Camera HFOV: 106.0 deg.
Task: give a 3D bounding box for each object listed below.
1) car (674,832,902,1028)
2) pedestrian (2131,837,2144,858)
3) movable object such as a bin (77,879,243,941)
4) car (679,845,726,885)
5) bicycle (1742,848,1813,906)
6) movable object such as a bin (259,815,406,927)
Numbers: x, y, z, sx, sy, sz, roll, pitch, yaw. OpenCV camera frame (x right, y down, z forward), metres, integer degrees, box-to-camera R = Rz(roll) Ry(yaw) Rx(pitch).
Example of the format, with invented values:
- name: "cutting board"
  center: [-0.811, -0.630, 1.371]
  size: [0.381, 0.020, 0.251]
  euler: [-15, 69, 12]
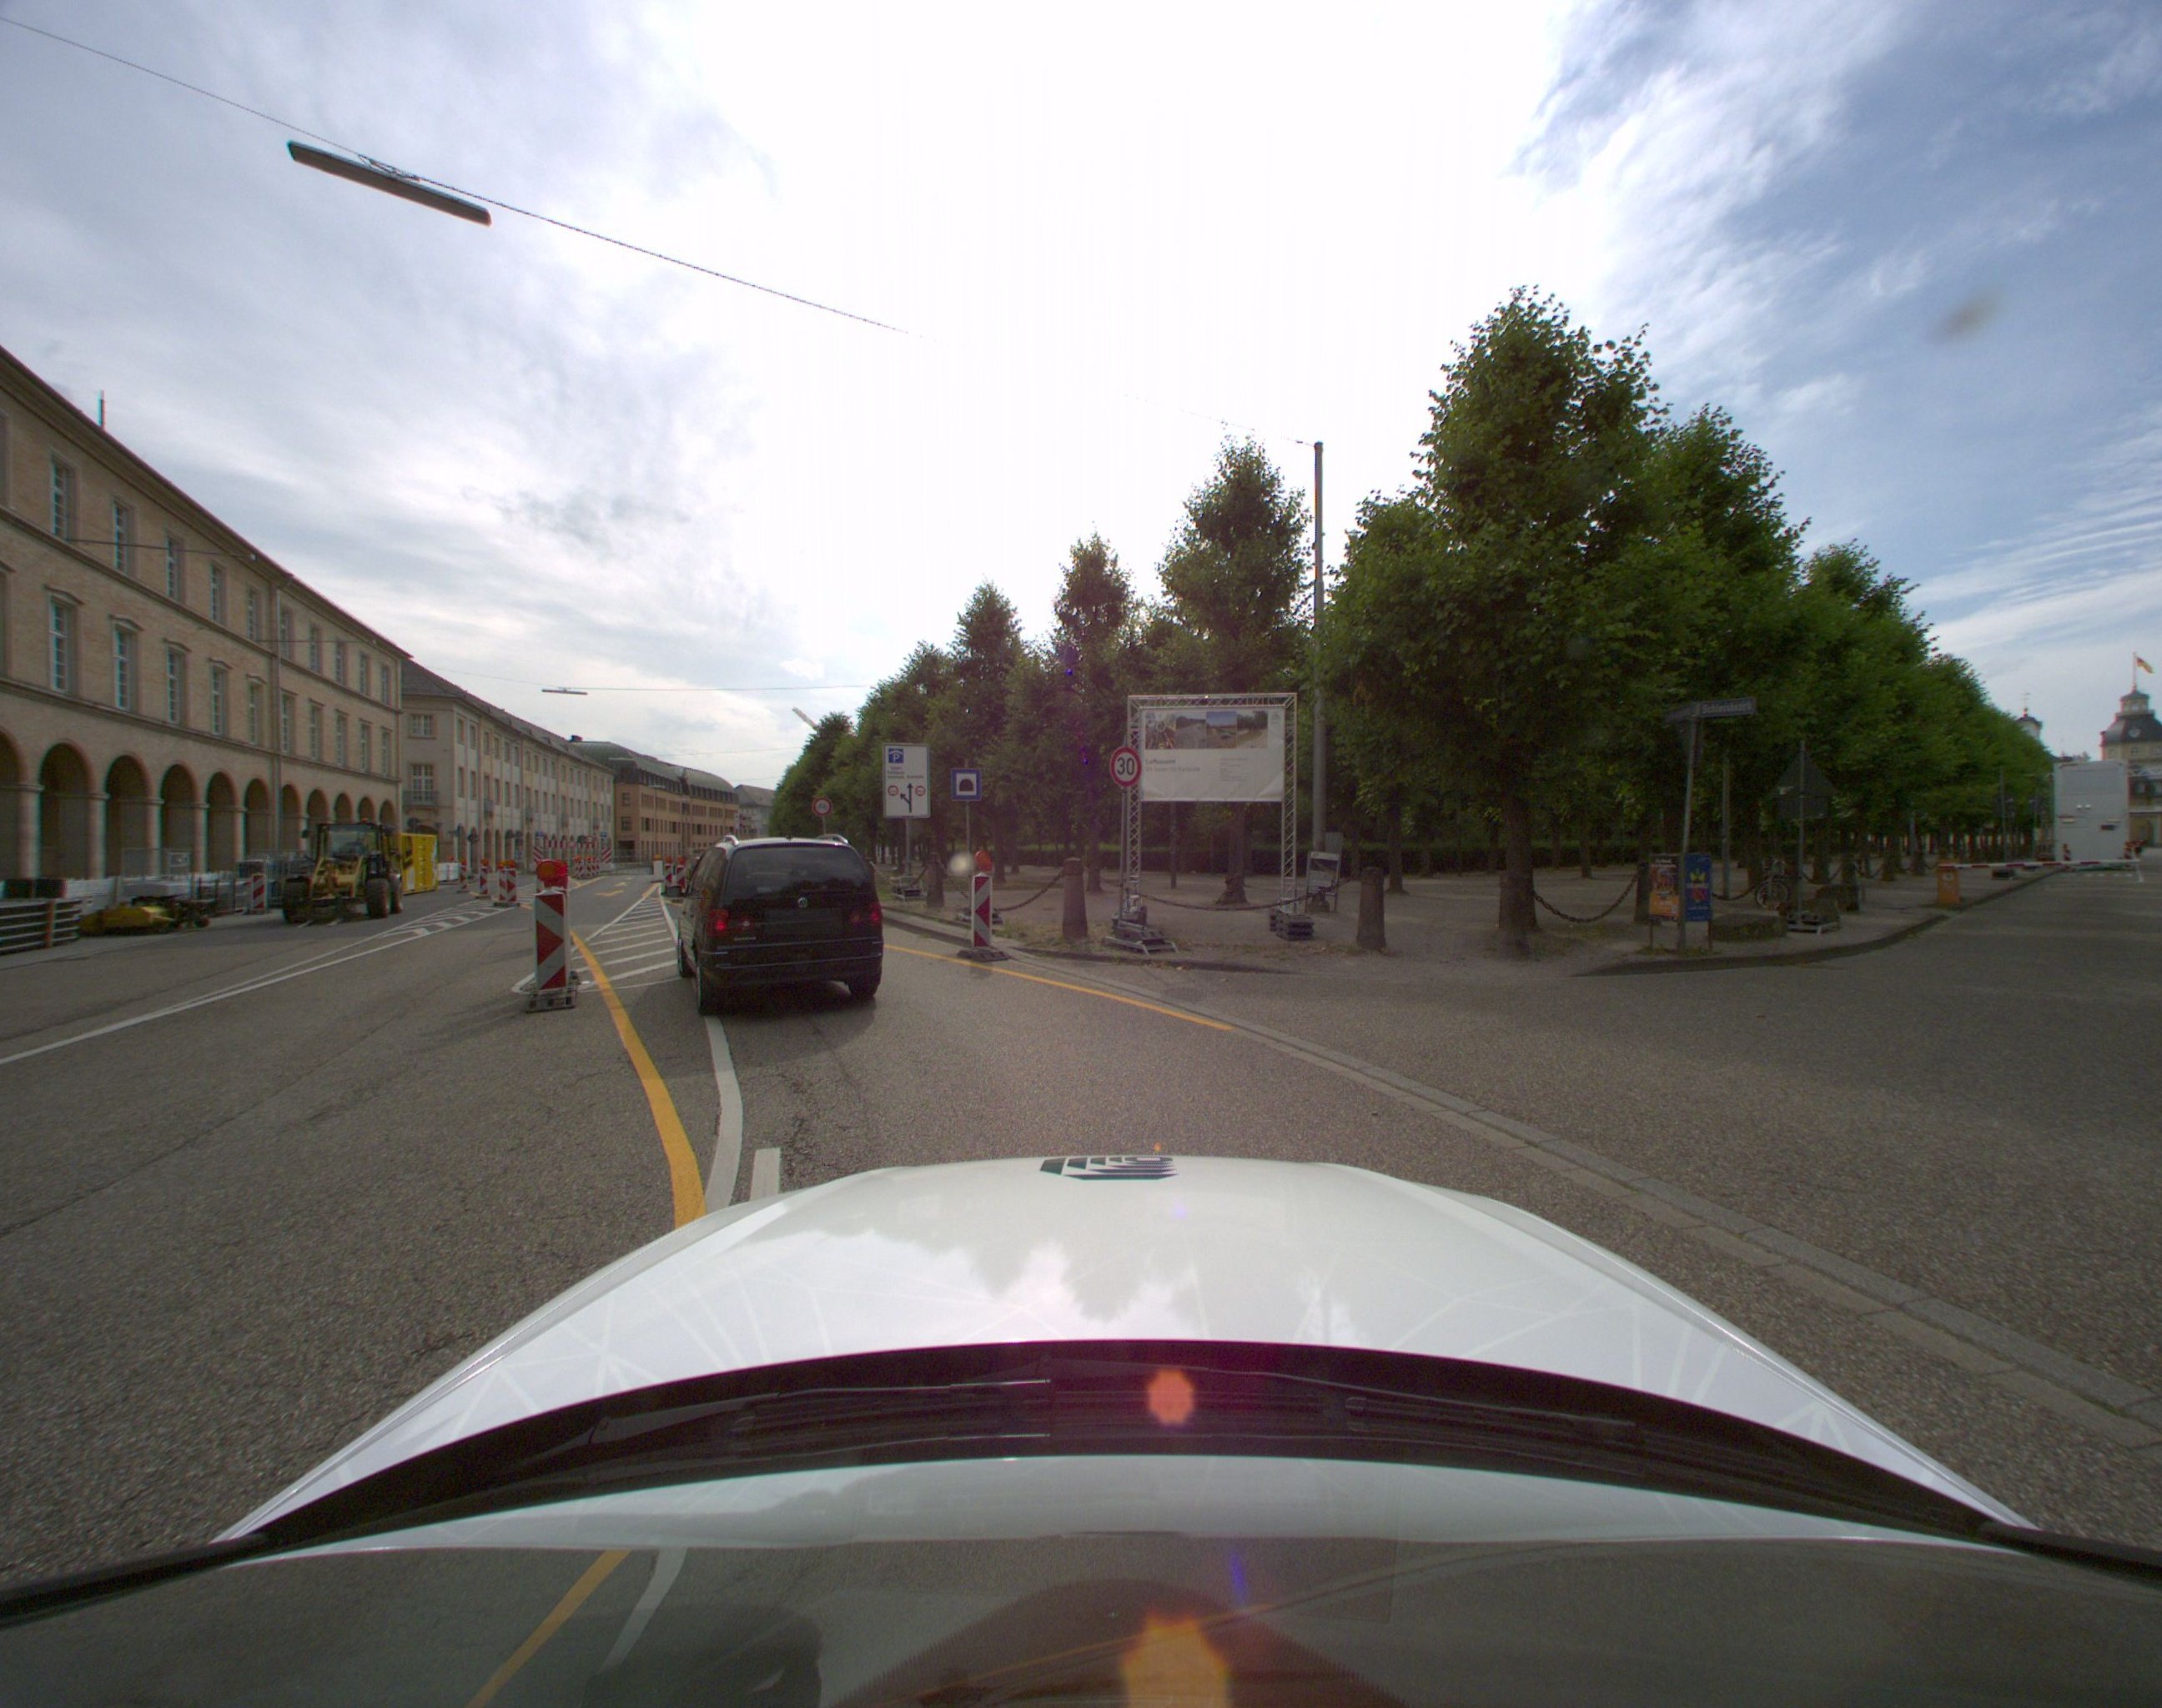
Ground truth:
- name: "car"
  center: [-3.558, 0.647, 9.366]
  size: [1.804, 1.708, 4.092]
  euler: [-1, 1, -29]
- name: "pedestrian"
  center: [82.396, -0.492, 63.514]
  size: [0.455, 1.625, 0.636]
  euler: [2, 2, 39]
- name: "movable object such as a bin"
  center: [-21.594, 1.267, 19.243]
  size: [1.819, 1.124, 2.721]
  euler: [-1, 2, -31]
- name: "car"
  center: [-21.190, 0.566, 45.519]
  size: [2.006, 2.013, 4.304]
  euler: [-1, 2, -30]
- name: "bicycle"
  center: [15.447, 0.467, 18.131]
  size: [0.943, 1.110, 2.596]
  euler: [1, 2, 35]
- name: "movable object such as a bin"
  center: [-20.350, 0.411, 22.386]
  size: [2.130, 2.718, 4.572]
  euler: [-1, 0, -32]
